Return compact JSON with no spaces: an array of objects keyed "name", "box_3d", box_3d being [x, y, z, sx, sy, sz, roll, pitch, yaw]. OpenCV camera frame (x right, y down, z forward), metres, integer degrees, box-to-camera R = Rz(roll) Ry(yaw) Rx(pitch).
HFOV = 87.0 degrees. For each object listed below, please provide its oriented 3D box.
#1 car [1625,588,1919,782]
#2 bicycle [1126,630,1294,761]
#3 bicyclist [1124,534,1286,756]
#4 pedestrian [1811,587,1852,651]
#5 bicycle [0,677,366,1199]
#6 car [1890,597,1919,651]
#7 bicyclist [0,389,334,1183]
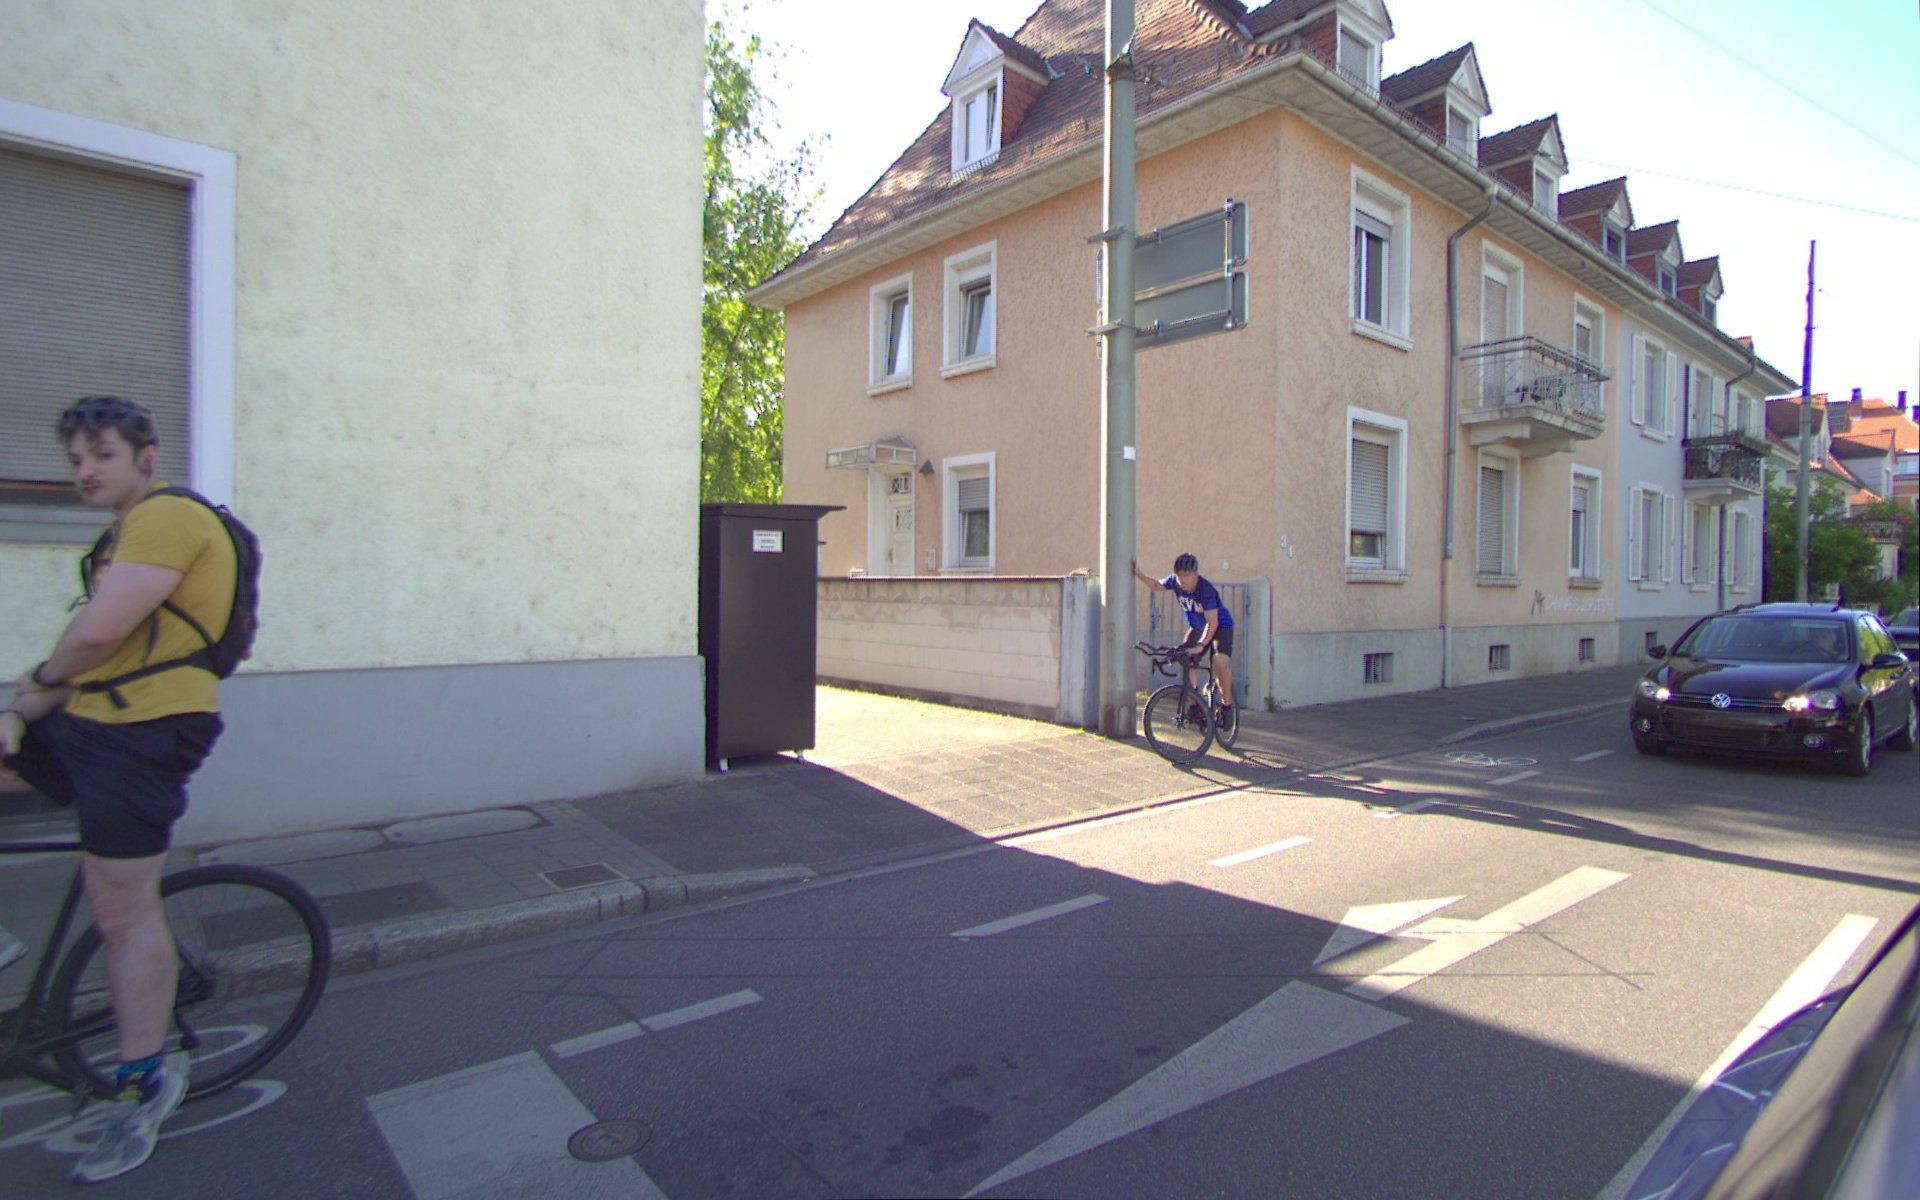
[{"name":"car","box_3d":[8.341,0.674,10.154,4.030,1.541,1.761,0,1,-41]},{"name":"bicycle","box_3d":[2.298,0.823,9.200,1.669,1.003,0.572,0,4,-41]},{"name":"bicyclist","box_3d":[2.265,0.366,9.425,0.831,1.887,1.076,0,4,-40]},{"name":"pedestrian","box_3d":[23.638,0.499,27.447,1.079,1.682,0.694,0,0,-41]},{"name":"bicycle","box_3d":[-2.495,0.849,2.525,1.669,1.180,0.572,0,1,-41]},{"name":"car","box_3d":[26.676,0.635,27.338,3.796,1.382,1.648,0,1,-38]},{"name":"bicyclist","box_3d":[-2.319,0.426,2.690,1.018,1.840,0.653,0,1,-41]}]
